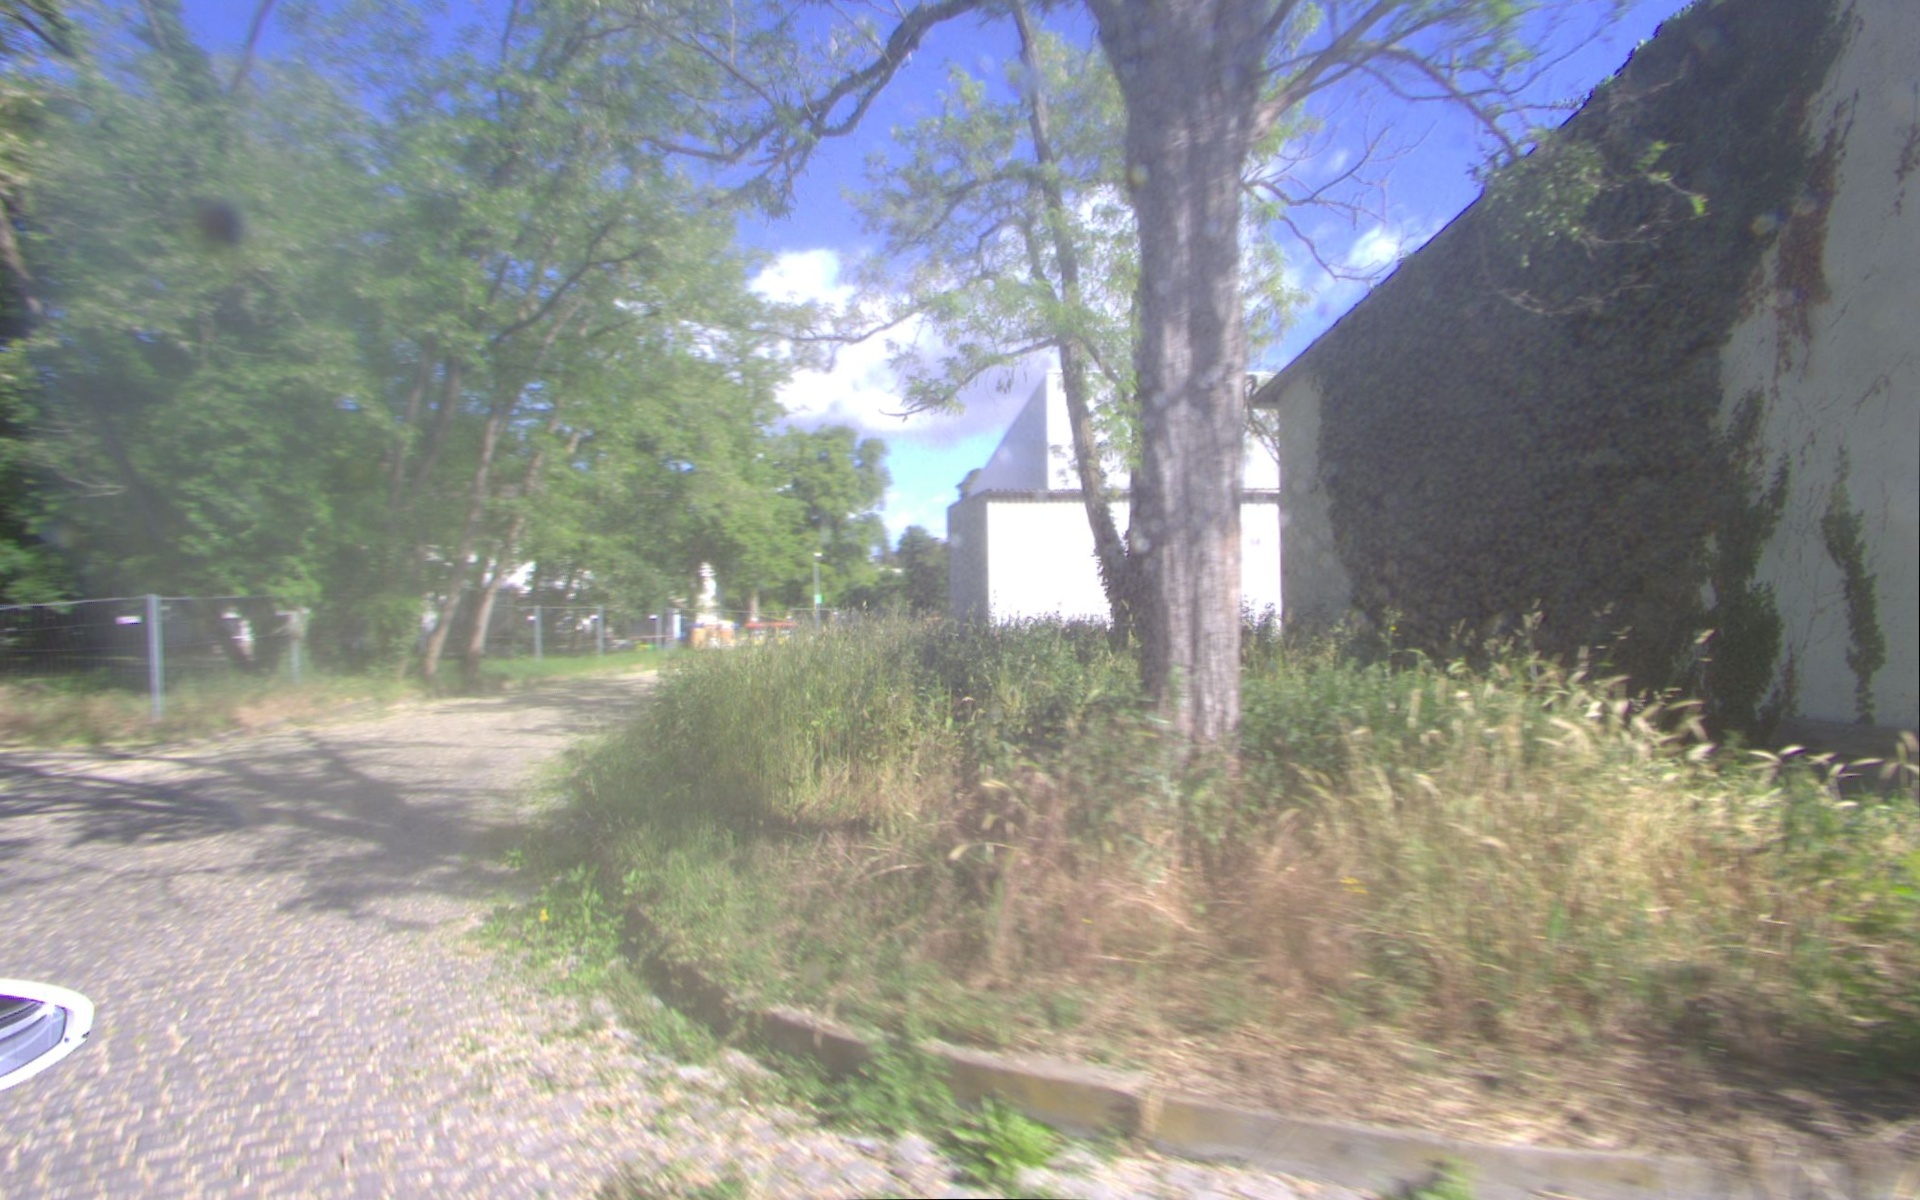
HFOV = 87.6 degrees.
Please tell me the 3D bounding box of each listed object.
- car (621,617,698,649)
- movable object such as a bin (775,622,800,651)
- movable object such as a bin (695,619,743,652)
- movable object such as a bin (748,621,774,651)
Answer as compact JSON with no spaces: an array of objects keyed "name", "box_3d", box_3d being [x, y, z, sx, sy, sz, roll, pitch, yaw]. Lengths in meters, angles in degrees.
[{"name":"car","box_3d":[-20.047,2.213,66.872,4.635,1.926,2.000,-2,-1,-9]},{"name":"movable object such as a bin","box_3d":[-8.774,1.834,50.887,1.225,1.463,0.702,0,-1,-10]},{"name":"movable object such as a bin","box_3d":[-12.116,1.764,50.425,2.252,1.612,1.174,0,-1,-10]},{"name":"movable object such as a bin","box_3d":[-10.107,1.817,50.878,1.316,1.503,0.806,0,0,-11]}]
